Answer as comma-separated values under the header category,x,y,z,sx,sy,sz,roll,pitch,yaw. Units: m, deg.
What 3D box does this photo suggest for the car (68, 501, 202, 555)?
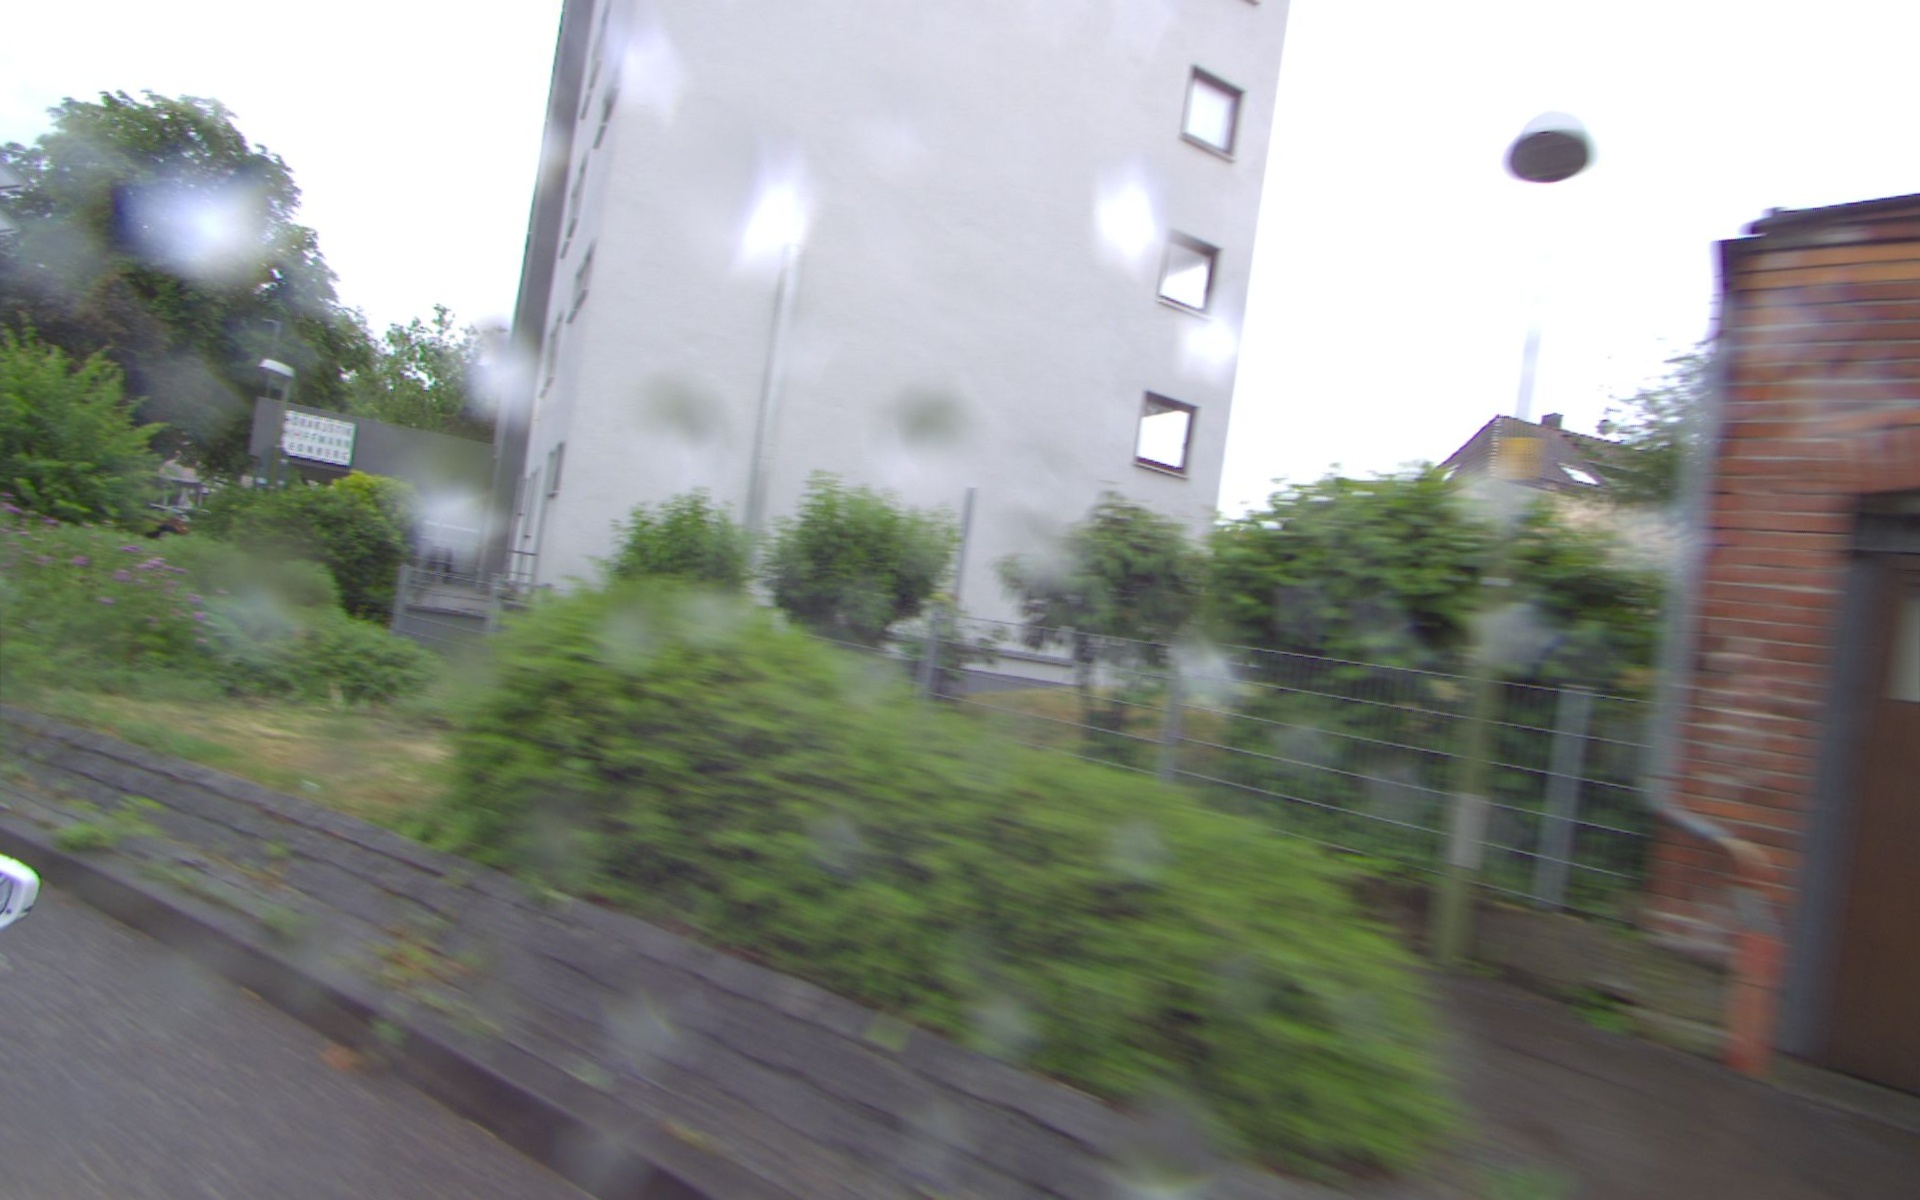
category,x,y,z,sx,sy,sz,roll,pitch,yaw
car,-33.673,-2.909,41.195,3.860,1.592,1.707,8,-1,-28
